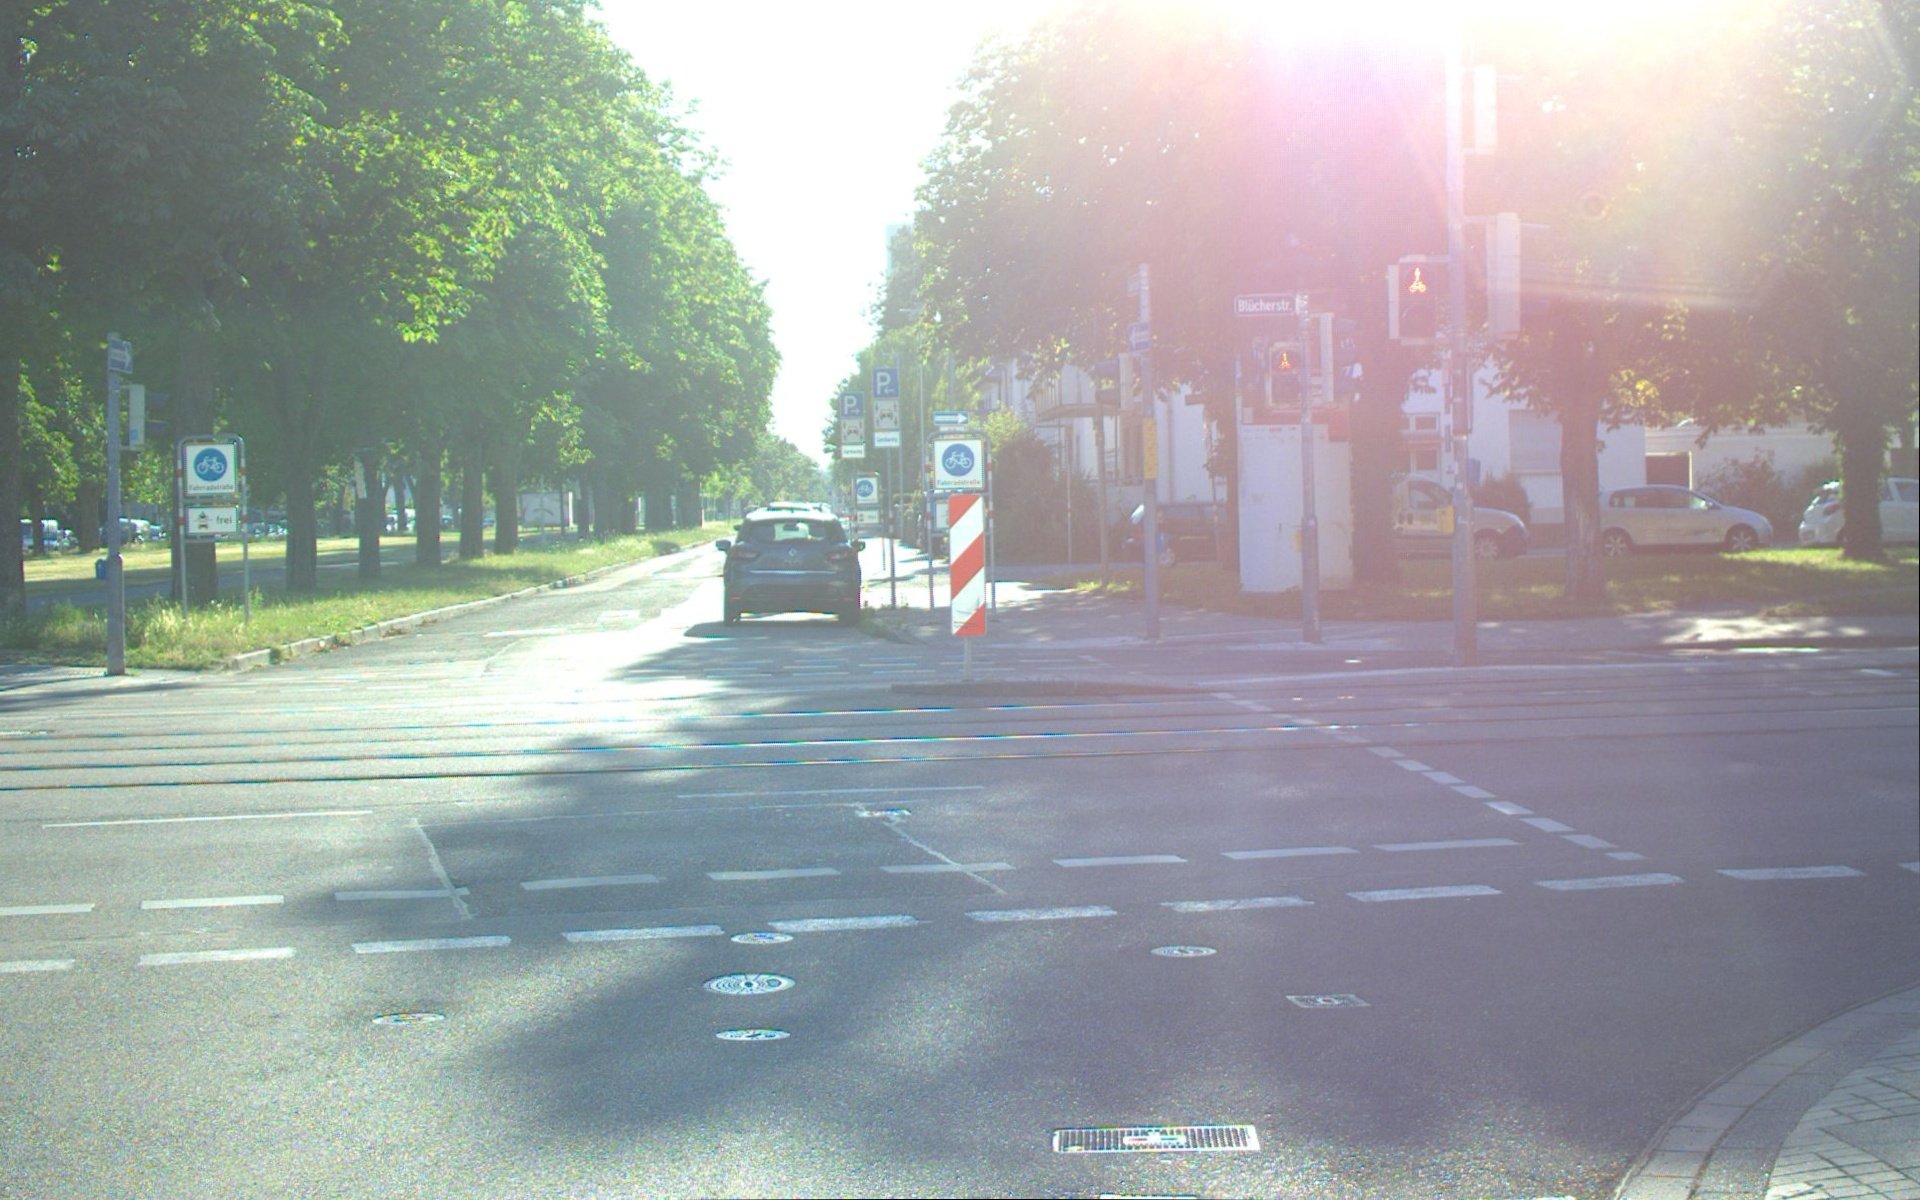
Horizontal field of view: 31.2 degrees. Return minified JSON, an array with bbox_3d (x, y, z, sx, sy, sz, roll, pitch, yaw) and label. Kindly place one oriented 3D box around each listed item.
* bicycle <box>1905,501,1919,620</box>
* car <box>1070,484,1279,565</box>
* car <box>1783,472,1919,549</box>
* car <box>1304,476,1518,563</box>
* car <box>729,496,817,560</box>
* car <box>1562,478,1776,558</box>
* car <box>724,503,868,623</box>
[{"bbox_3d":[10.089,-0.399,32.823,1.954,1.128,0.620,-1,1,1],"label":"bicycle"},{"bbox_3d":[4.024,-1.433,64.952,3.779,1.422,1.744,-1,3,-2],"label":"car"},{"bbox_3d":[17.936,-1.734,65.991,3.844,1.422,1.598,-1,2,-6],"label":"car"},{"bbox_3d":[8.531,-1.541,65.277,3.779,1.520,1.744,-1,3,-2],"label":"car"},{"bbox_3d":[-4.217,-1.660,78.000,1.845,1.389,3.829,-1,2,-1],"label":"car"},{"bbox_3d":[13.435,-1.557,65.221,3.662,1.422,1.532,-1,2,-6],"label":"car"},{"bbox_3d":[-2.059,-0.499,43.852,1.641,1.446,3.307,-1,2,0],"label":"car"}]
